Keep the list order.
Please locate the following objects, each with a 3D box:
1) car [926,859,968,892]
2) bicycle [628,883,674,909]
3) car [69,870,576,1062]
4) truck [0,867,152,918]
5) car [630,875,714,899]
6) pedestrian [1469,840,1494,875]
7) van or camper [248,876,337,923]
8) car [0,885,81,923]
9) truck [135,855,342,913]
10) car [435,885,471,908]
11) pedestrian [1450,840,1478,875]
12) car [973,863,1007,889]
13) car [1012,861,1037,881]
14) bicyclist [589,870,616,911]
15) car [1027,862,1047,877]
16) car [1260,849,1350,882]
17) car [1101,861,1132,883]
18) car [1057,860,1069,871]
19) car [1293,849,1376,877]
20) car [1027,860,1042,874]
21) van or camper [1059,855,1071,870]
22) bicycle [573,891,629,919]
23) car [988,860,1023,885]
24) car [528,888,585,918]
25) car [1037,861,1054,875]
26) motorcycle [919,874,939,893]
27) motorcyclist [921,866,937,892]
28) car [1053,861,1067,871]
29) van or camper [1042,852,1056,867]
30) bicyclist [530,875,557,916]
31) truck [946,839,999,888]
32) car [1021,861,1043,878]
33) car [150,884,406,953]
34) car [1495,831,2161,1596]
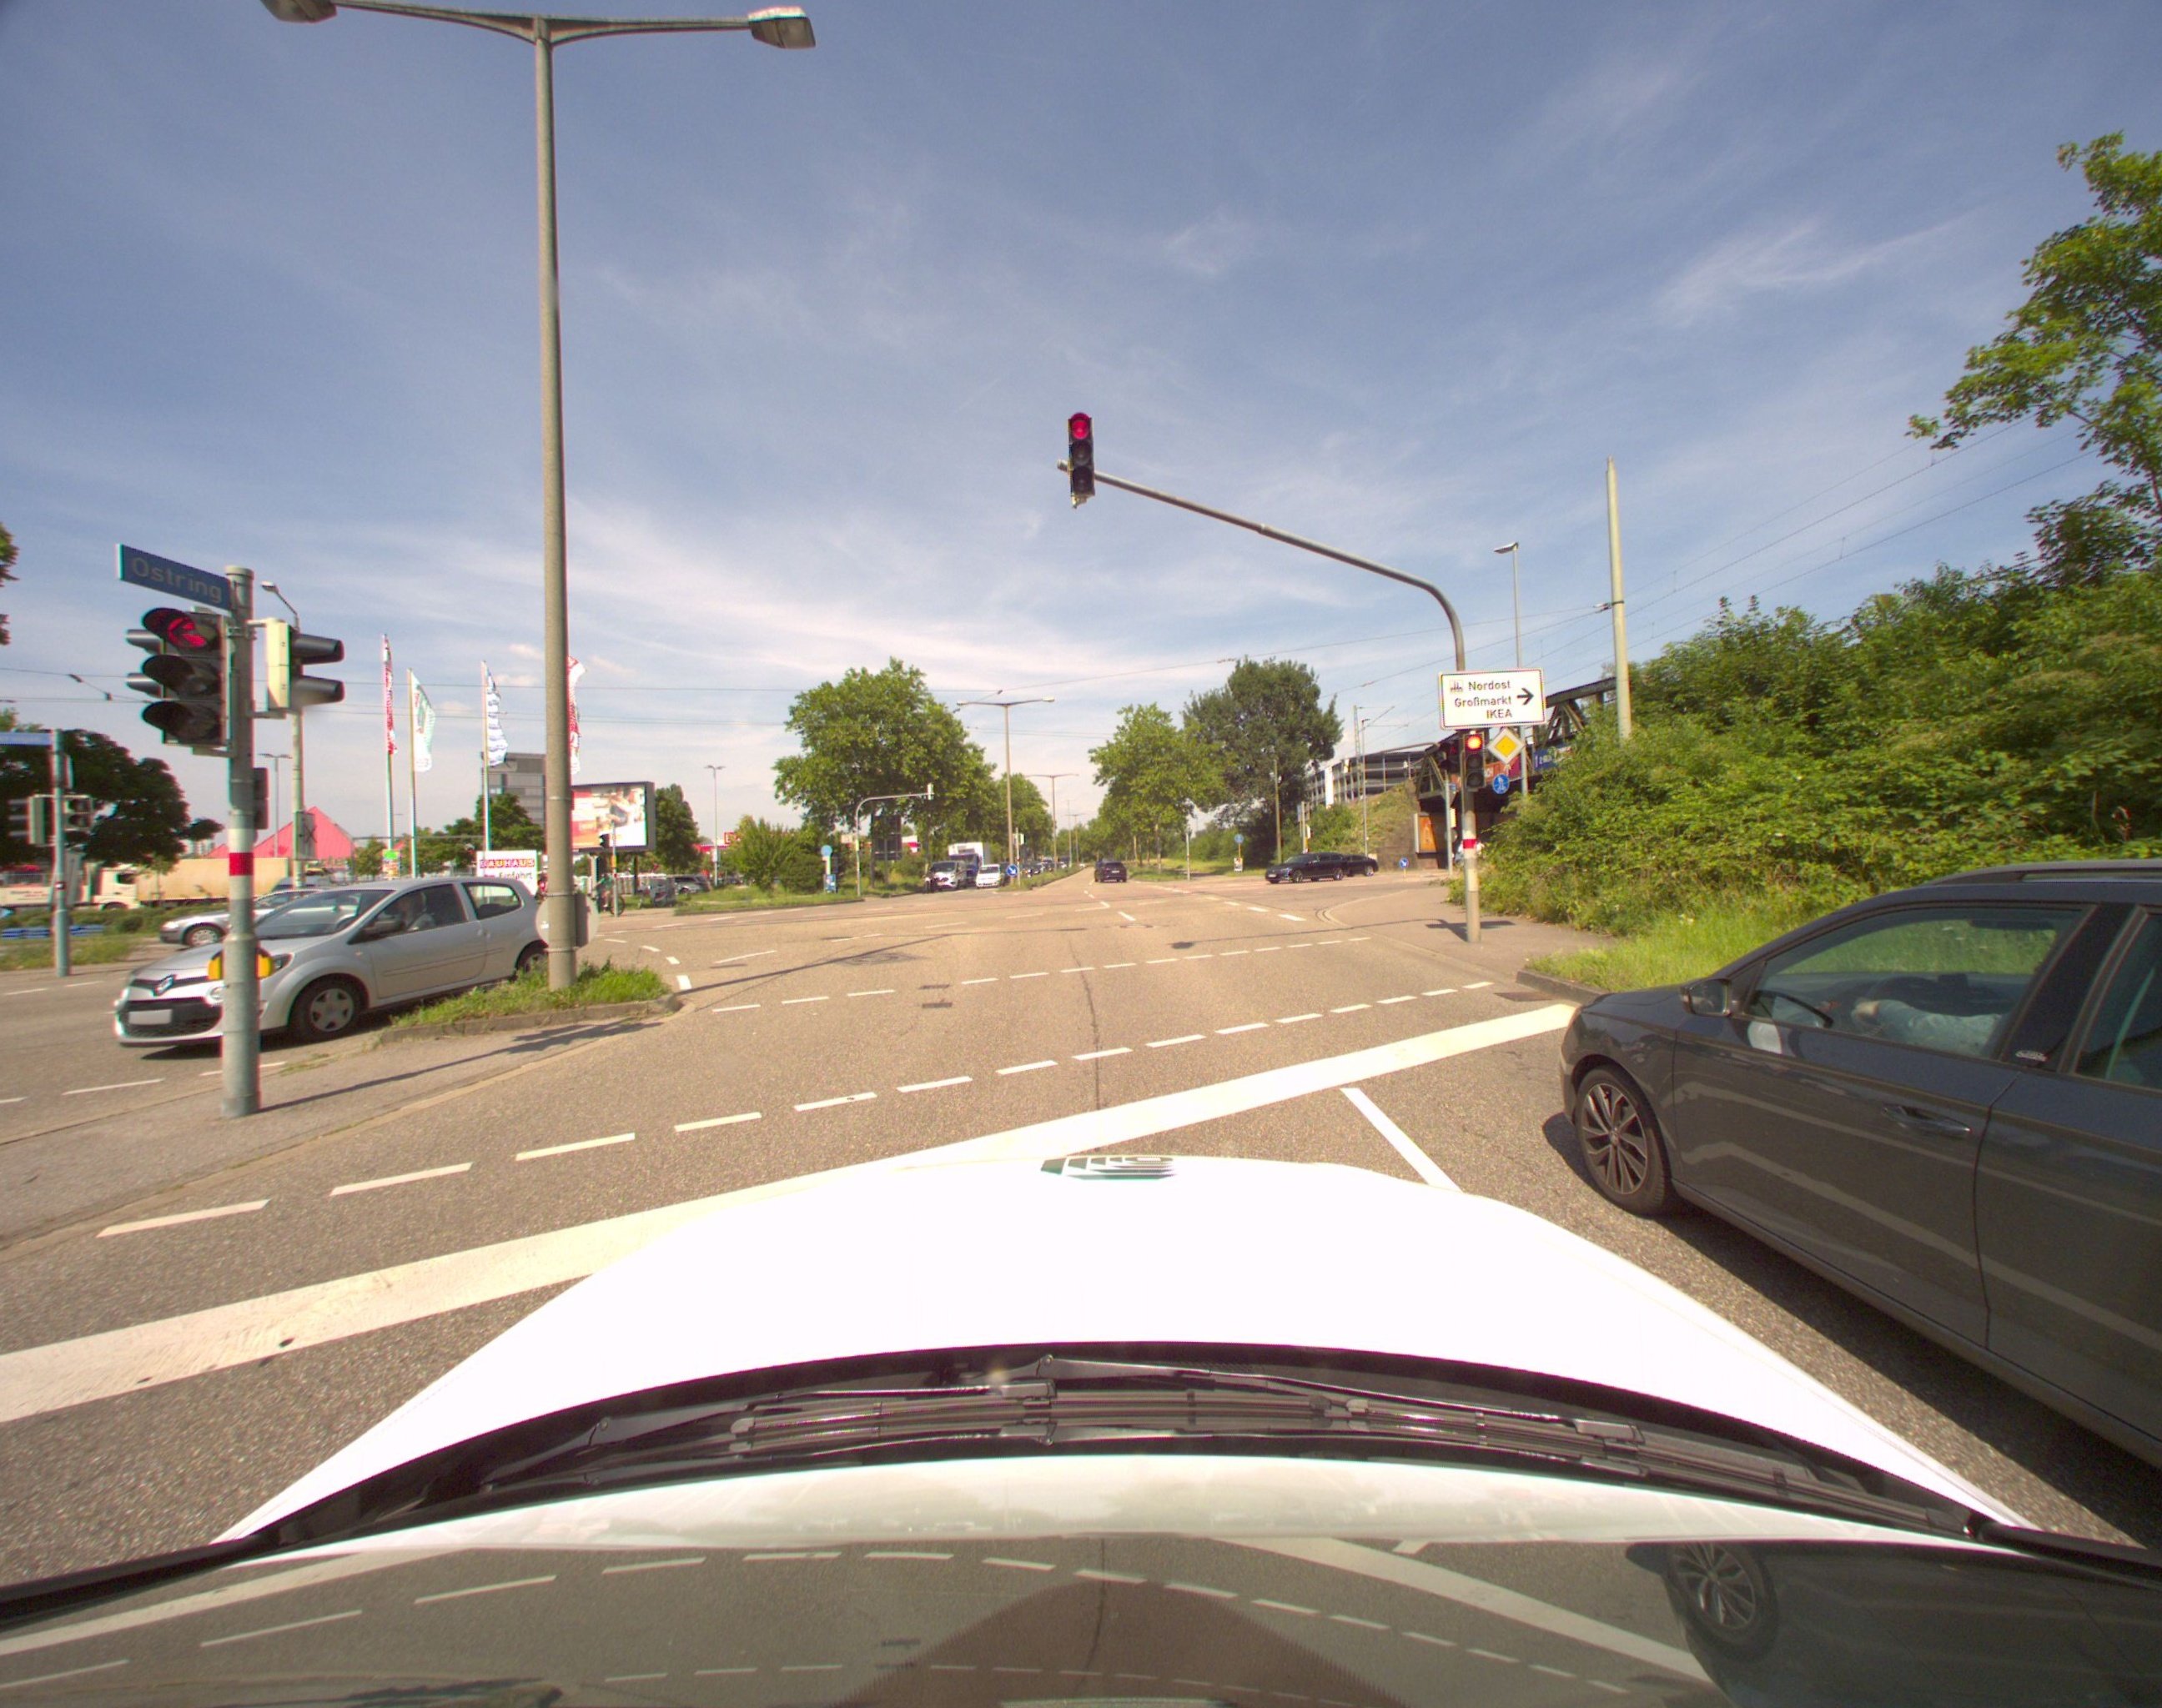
[{"bbox_3d":[-8.769,1.374,53.694,1.970,1.999,5.030,-2,0,-1],"label":"car"},{"bbox_3d":[-18.775,1.838,35.596,0.590,1.037,1.903,-2,-1,16],"label":"bicycle"},{"bbox_3d":[-7.613,0.998,8.758,1.640,1.514,3.744,-2,0,8],"label":"car"},{"bbox_3d":[-65.267,2.427,50.497,9.655,2.892,2.895,-2,-1,-35],"label":"truck"},{"bbox_3d":[-27.773,2.222,55.475,4.556,1.414,2.196,-2,-1,-6],"label":"car"},{"bbox_3d":[18.843,0.161,38.330,0.726,1.579,0.778,-2,-1,1],"label":"pedestrian"},{"bbox_3d":[-41.033,2.302,42.536,2.204,2.210,5.462,-2,-1,-32],"label":"van or camper"},{"bbox_3d":[-77.030,3.639,59.858,2.396,2.529,6.066,-2,-1,-31],"label":"car"},{"bbox_3d":[-55.066,1.882,53.710,8.964,3.311,3.125,-2,-1,-36],"label":"truck"},{"bbox_3d":[-45.842,3.071,59.502,1.829,1.572,4.234,-2,-1,-34],"label":"car"},{"bbox_3d":[18.041,0.173,38.373,0.865,1.611,0.778,-2,-1,1],"label":"pedestrian"},{"bbox_3d":[-5.846,1.407,52.868,1.587,1.477,3.731,-3,0,2],"label":"car"},{"bbox_3d":[-4.958,1.457,72.250,1.682,1.586,4.242,-3,0,2],"label":"car"},{"bbox_3d":[-17.850,1.365,30.388,0.523,1.491,0.612,-2,-1,17],"label":"bicyclist"},{"bbox_3d":[-4.574,1.600,85.160,1.682,1.472,3.816,-3,0,2],"label":"car"},{"bbox_3d":[11.171,0.564,40.565,4.233,1.443,1.773,-2,0,-29],"label":"car"},{"bbox_3d":[2.431,1.197,56.539,1.829,1.391,4.263,-2,0,-1],"label":"car"},{"bbox_3d":[-2.857,1.846,132.165,1.682,1.510,3.816,-3,0,2],"label":"car"},{"bbox_3d":[14.896,0.507,47.871,4.631,1.463,1.897,-2,0,-27],"label":"car"},{"bbox_3d":[-6.767,1.899,119.268,1.682,1.858,4.038,-3,-1,2],"label":"car"},{"bbox_3d":[-2.741,1.460,141.001,1.932,2.368,5.397,-3,-1,0],"label":"van or camper"},{"bbox_3d":[-17.851,1.888,30.336,0.412,0.937,2.007,-2,-1,18],"label":"bicycle"},{"bbox_3d":[-5.410,1.310,58.736,1.813,1.646,4.695,-3,-1,2],"label":"car"},{"bbox_3d":[-31.681,2.912,49.123,2.212,1.572,4.522,-1,-1,-41],"label":"car"},{"bbox_3d":[-4.244,1.701,97.855,1.778,1.489,4.211,-3,0,1],"label":"car"},{"bbox_3d":[-9.028,1.741,48.520,0.685,0.991,2.218,-2,0,2],"label":"motorcycle"},{"bbox_3d":[-9.065,1.498,48.617,0.740,1.470,0.988,-2,0,1],"label":"motorcyclist"},{"bbox_3d":[-3.183,1.833,125.477,1.777,1.459,4.473,-3,0,2],"label":"car"},{"bbox_3d":[-5.856,0.990,148.257,2.007,2.587,5.519,-3,0,2],"label":"van or camper"},{"bbox_3d":[-19.242,1.492,29.151,0.523,1.414,0.613,-2,-1,24],"label":"bicyclist"},{"bbox_3d":[-8.411,0.681,63.944,2.793,3.471,6.693,-4,0,2],"label":"truck"},{"bbox_3d":[-4.776,1.531,79.525,1.682,1.473,4.220,-4,0,2],"label":"car"},{"bbox_3d":[-20.620,1.604,21.221,4.479,1.411,1.622,-2,0,-33],"label":"car"},{"bbox_3d":[2.892,0.674,2.101,1.668,1.453,4.037,-1,0,1],"label":"car"}]
